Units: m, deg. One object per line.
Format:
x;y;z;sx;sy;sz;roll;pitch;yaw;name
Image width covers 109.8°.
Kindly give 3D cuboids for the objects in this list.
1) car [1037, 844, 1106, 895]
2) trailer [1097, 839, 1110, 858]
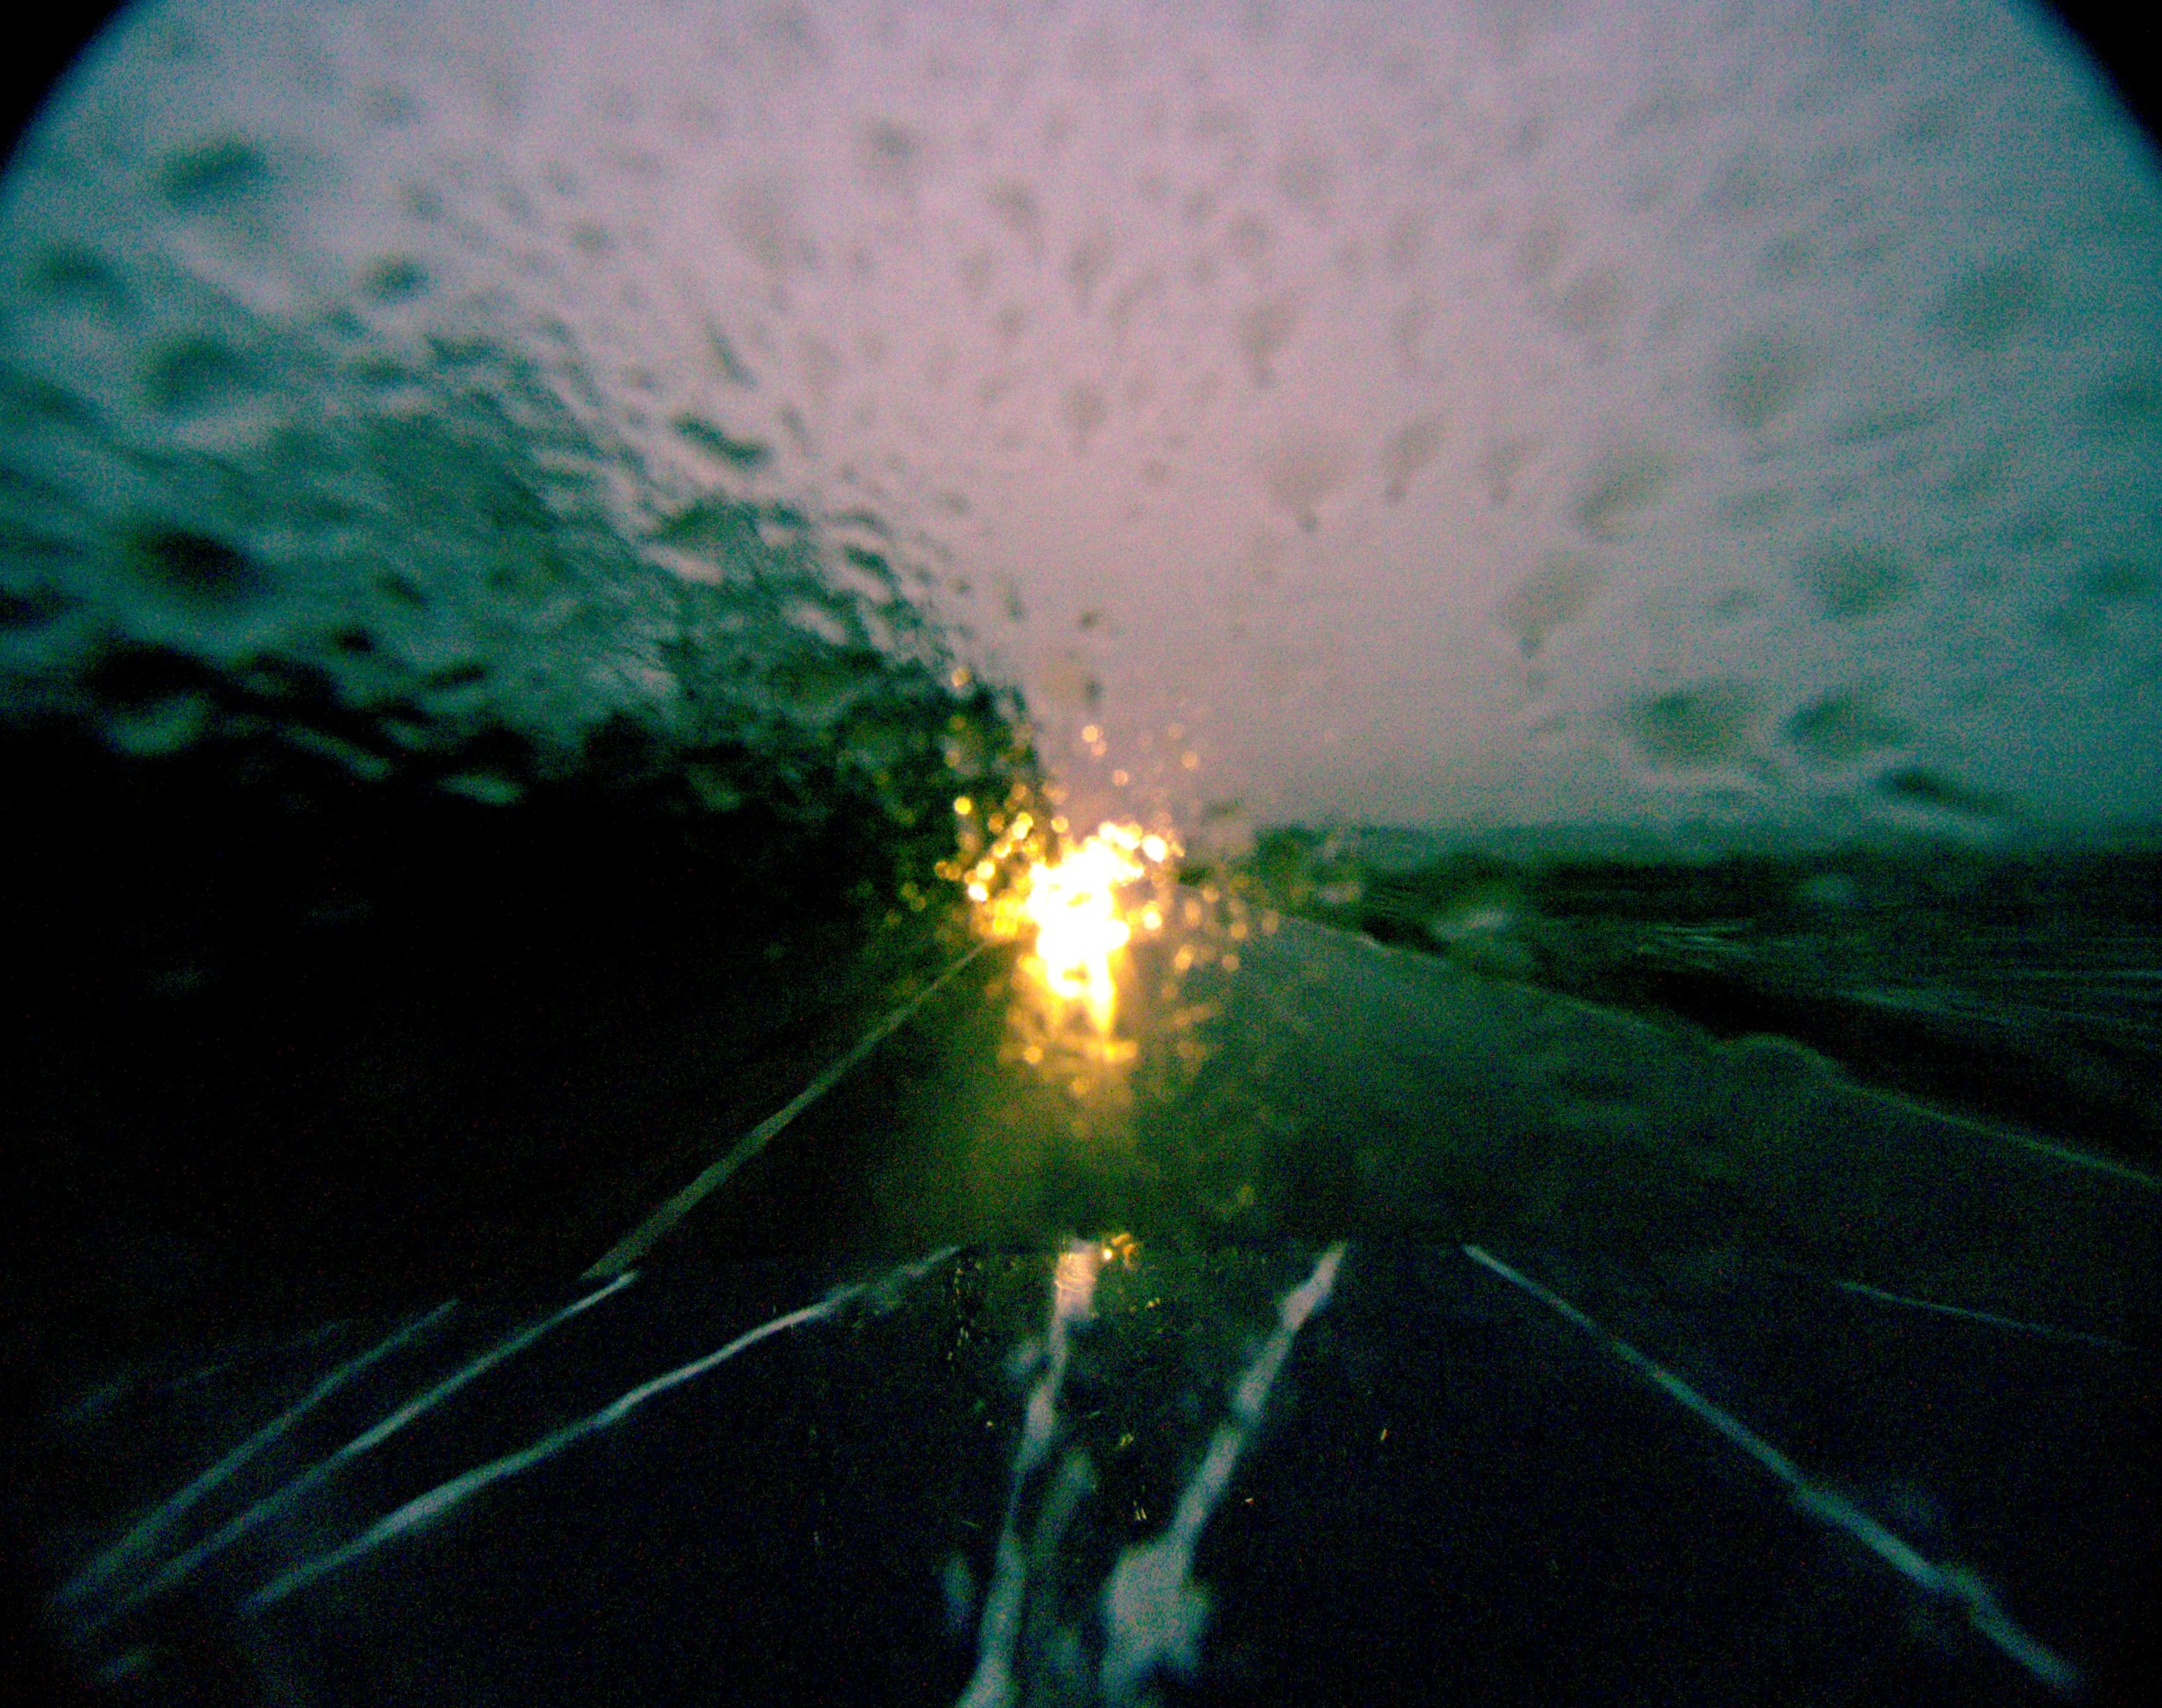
-0.317;0.597;33.881;2.704;1.974;5.804;-3;1;1;car
5.085;-1.216;171.764;2.708;4.056;12.380;-1;0;0;trailer
